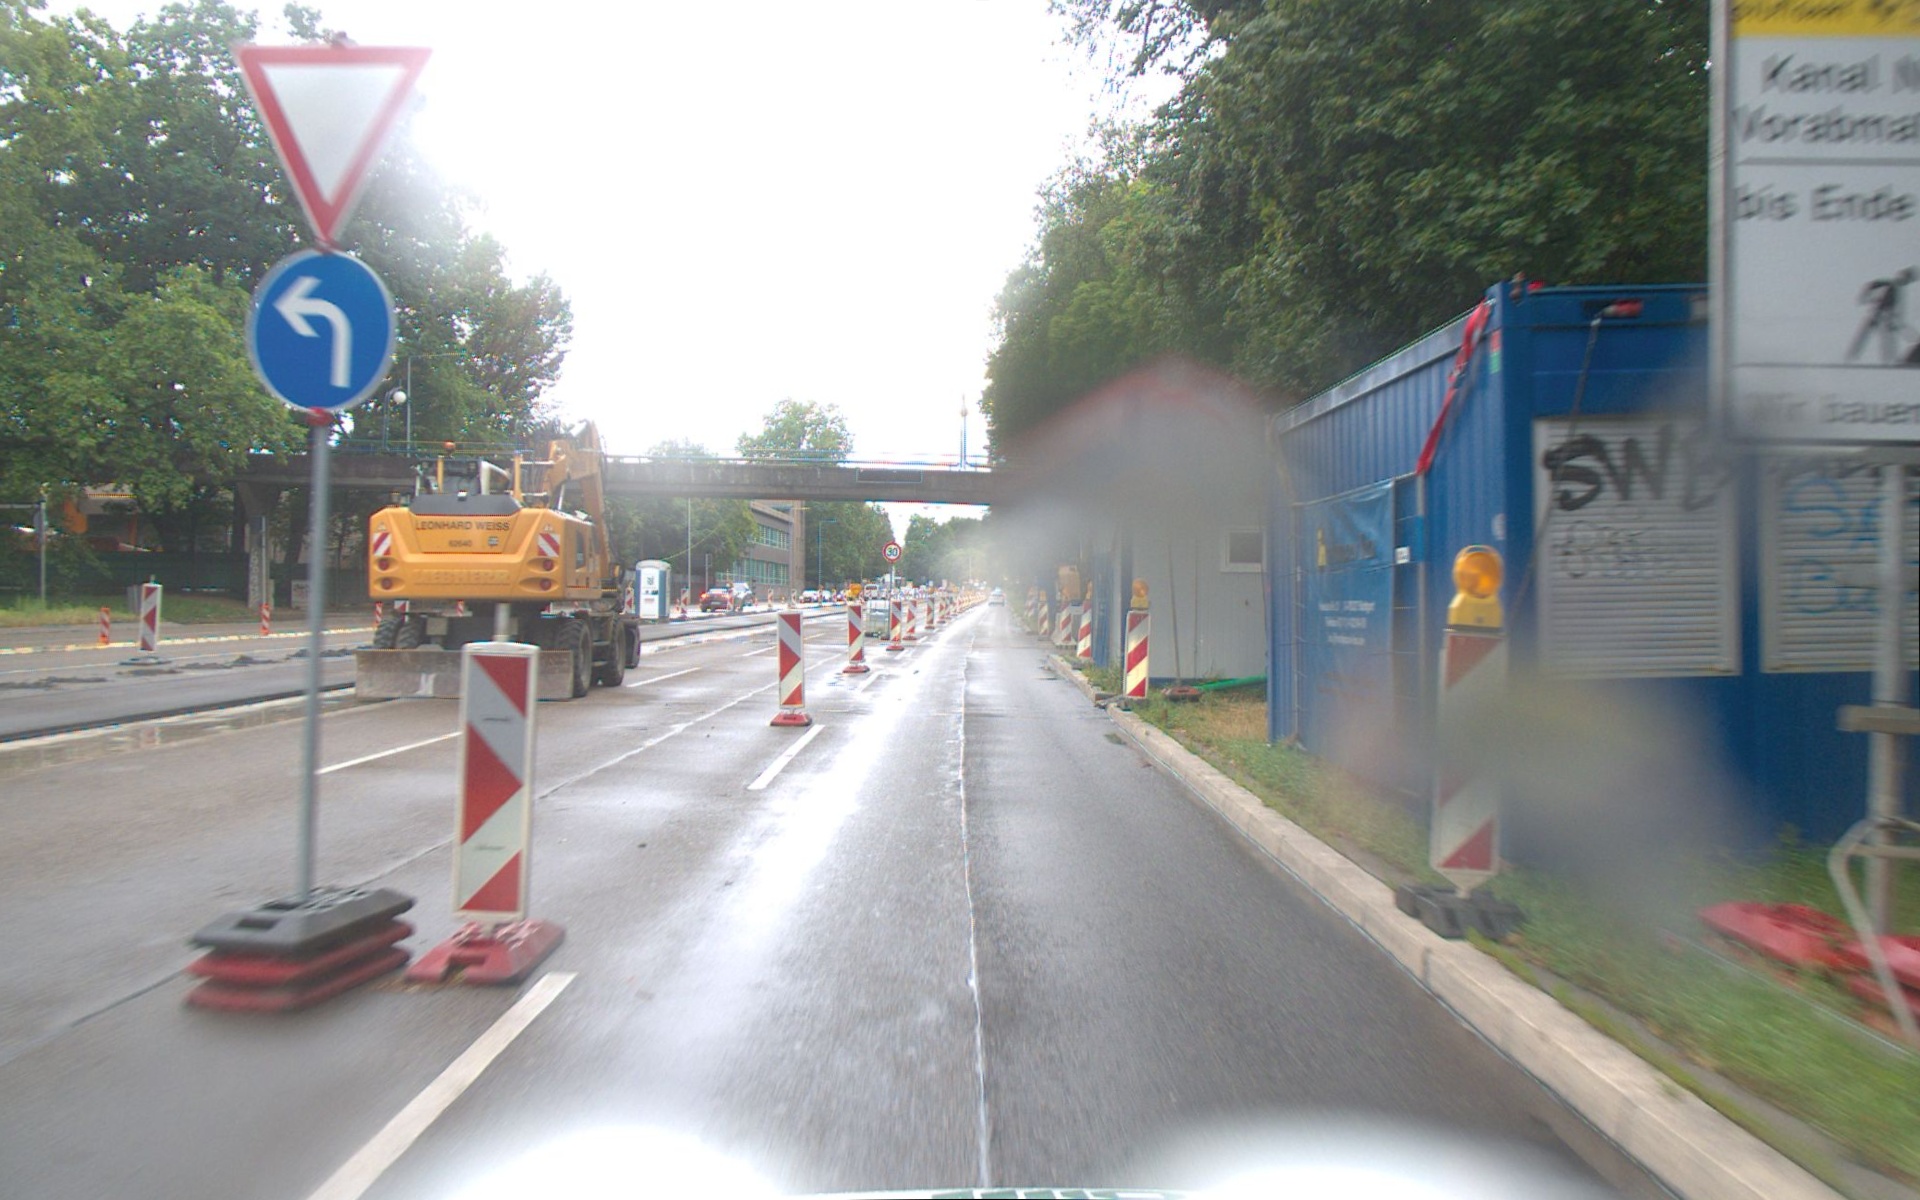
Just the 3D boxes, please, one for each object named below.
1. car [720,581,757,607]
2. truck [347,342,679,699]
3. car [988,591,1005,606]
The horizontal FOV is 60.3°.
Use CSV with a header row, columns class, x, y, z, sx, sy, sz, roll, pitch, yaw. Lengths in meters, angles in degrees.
class,x,y,z,sx,sy,sz,roll,pitch,yaw
car,-15.977,-0.461,119.403,1.930,1.837,4.609,0,0,2
truck,-6.440,-1.015,25.857,2.840,4.333,10.748,1,0,-4
car,4.051,-0.132,184.415,1.952,1.668,4.000,0,0,1
